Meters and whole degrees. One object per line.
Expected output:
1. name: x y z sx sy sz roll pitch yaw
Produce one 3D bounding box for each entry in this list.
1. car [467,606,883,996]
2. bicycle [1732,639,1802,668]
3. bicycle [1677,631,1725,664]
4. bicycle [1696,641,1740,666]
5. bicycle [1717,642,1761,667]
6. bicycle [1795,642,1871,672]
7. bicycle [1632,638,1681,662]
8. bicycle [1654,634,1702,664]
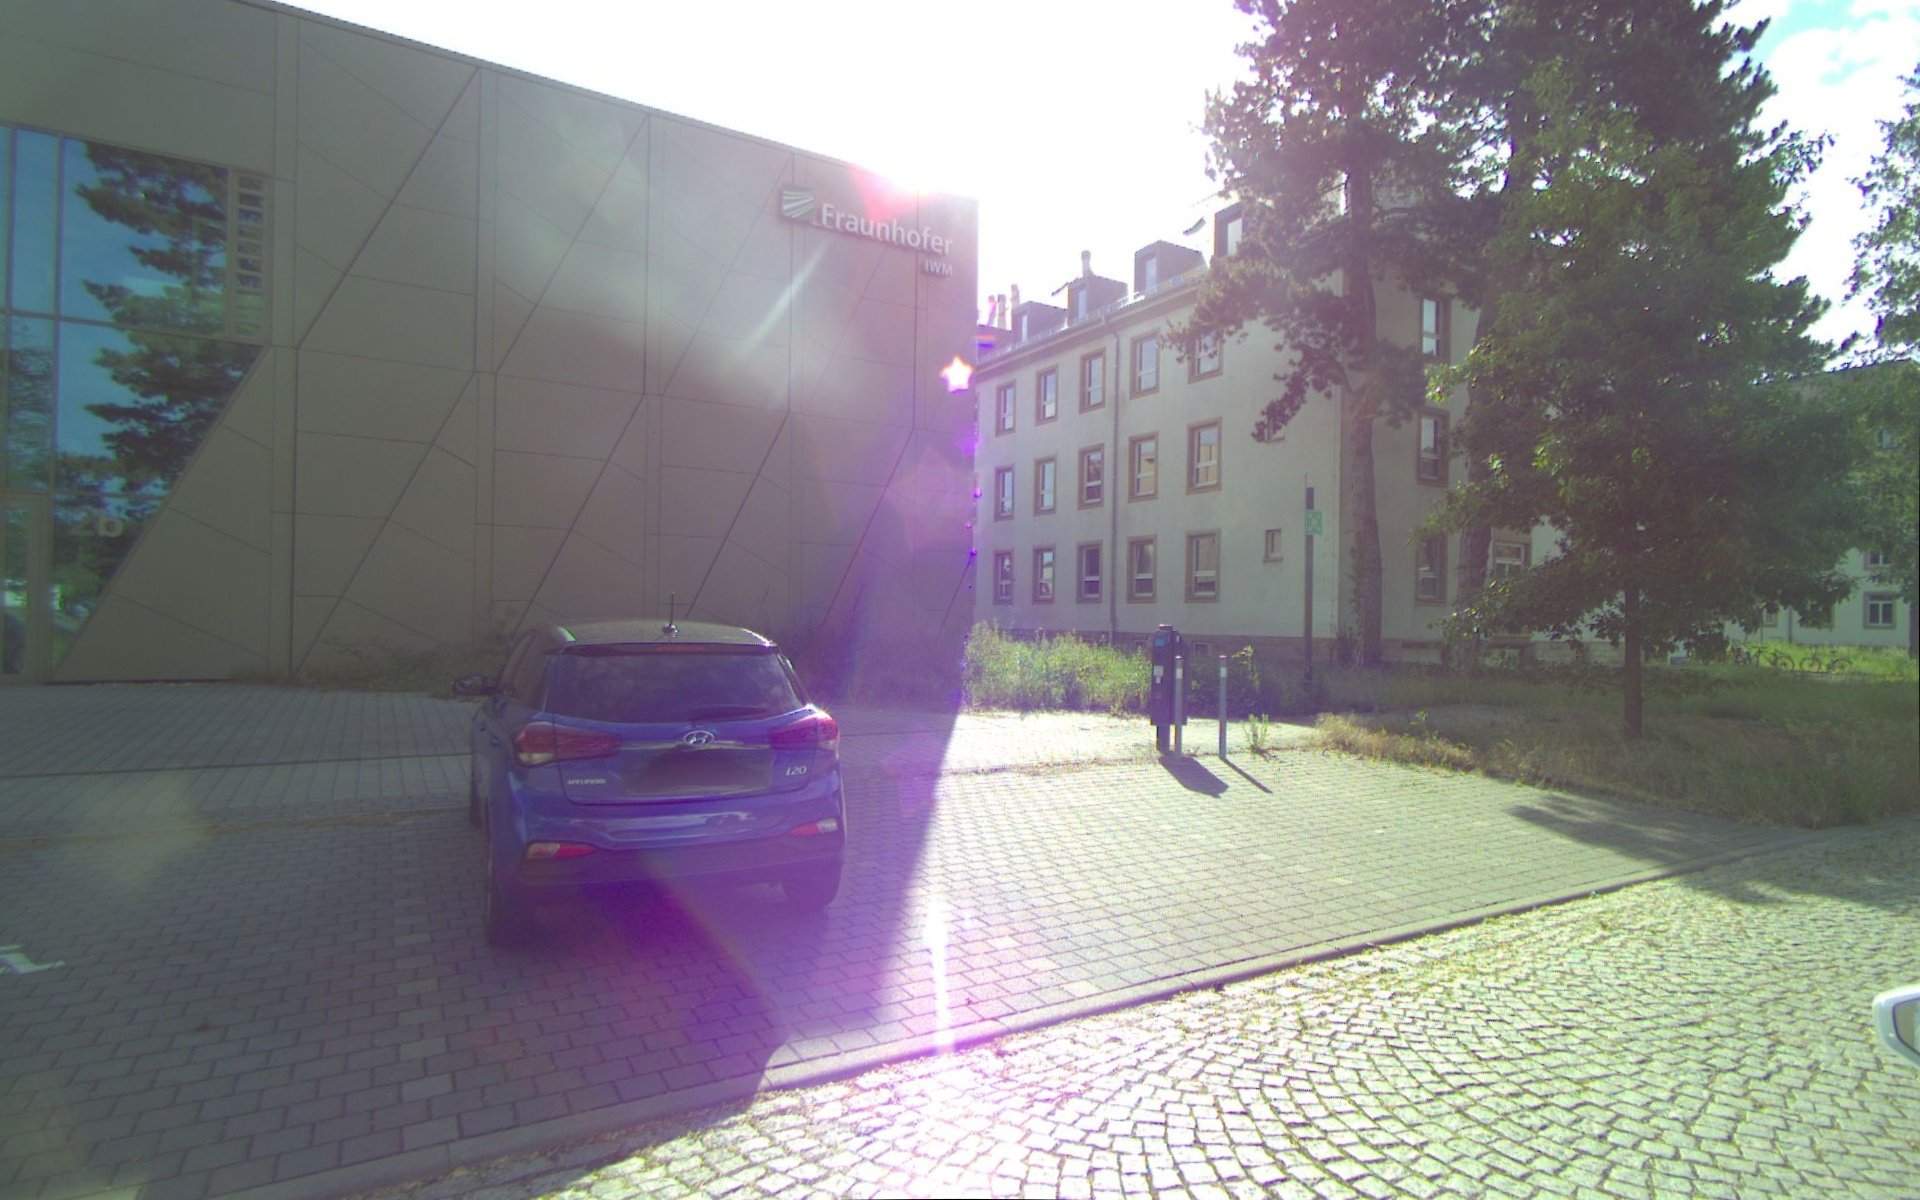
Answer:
1. car: -2.018 0.848 6.159 1.698 1.483 3.820 2 0 -27
2. bicycle: 33.153 2.192 41.268 0.820 1.123 2.104 2 -1 -33
3. bicycle: 32.963 2.111 44.683 2.524 1.456 0.822 2 -1 -31
4. bicycle: 33.063 2.325 43.822 2.100 1.061 0.822 2 -1 -31
5. bicycle: 33.487 2.337 43.167 2.100 1.061 0.822 2 -1 -31
6. bicycle: 34.285 2.223 39.479 0.820 1.061 2.104 2 -1 -33
7. bicycle: 31.875 2.290 45.975 2.524 1.061 0.896 2 -1 -31
8. bicycle: 32.324 2.185 45.196 2.524 1.298 0.822 2 -1 -31
